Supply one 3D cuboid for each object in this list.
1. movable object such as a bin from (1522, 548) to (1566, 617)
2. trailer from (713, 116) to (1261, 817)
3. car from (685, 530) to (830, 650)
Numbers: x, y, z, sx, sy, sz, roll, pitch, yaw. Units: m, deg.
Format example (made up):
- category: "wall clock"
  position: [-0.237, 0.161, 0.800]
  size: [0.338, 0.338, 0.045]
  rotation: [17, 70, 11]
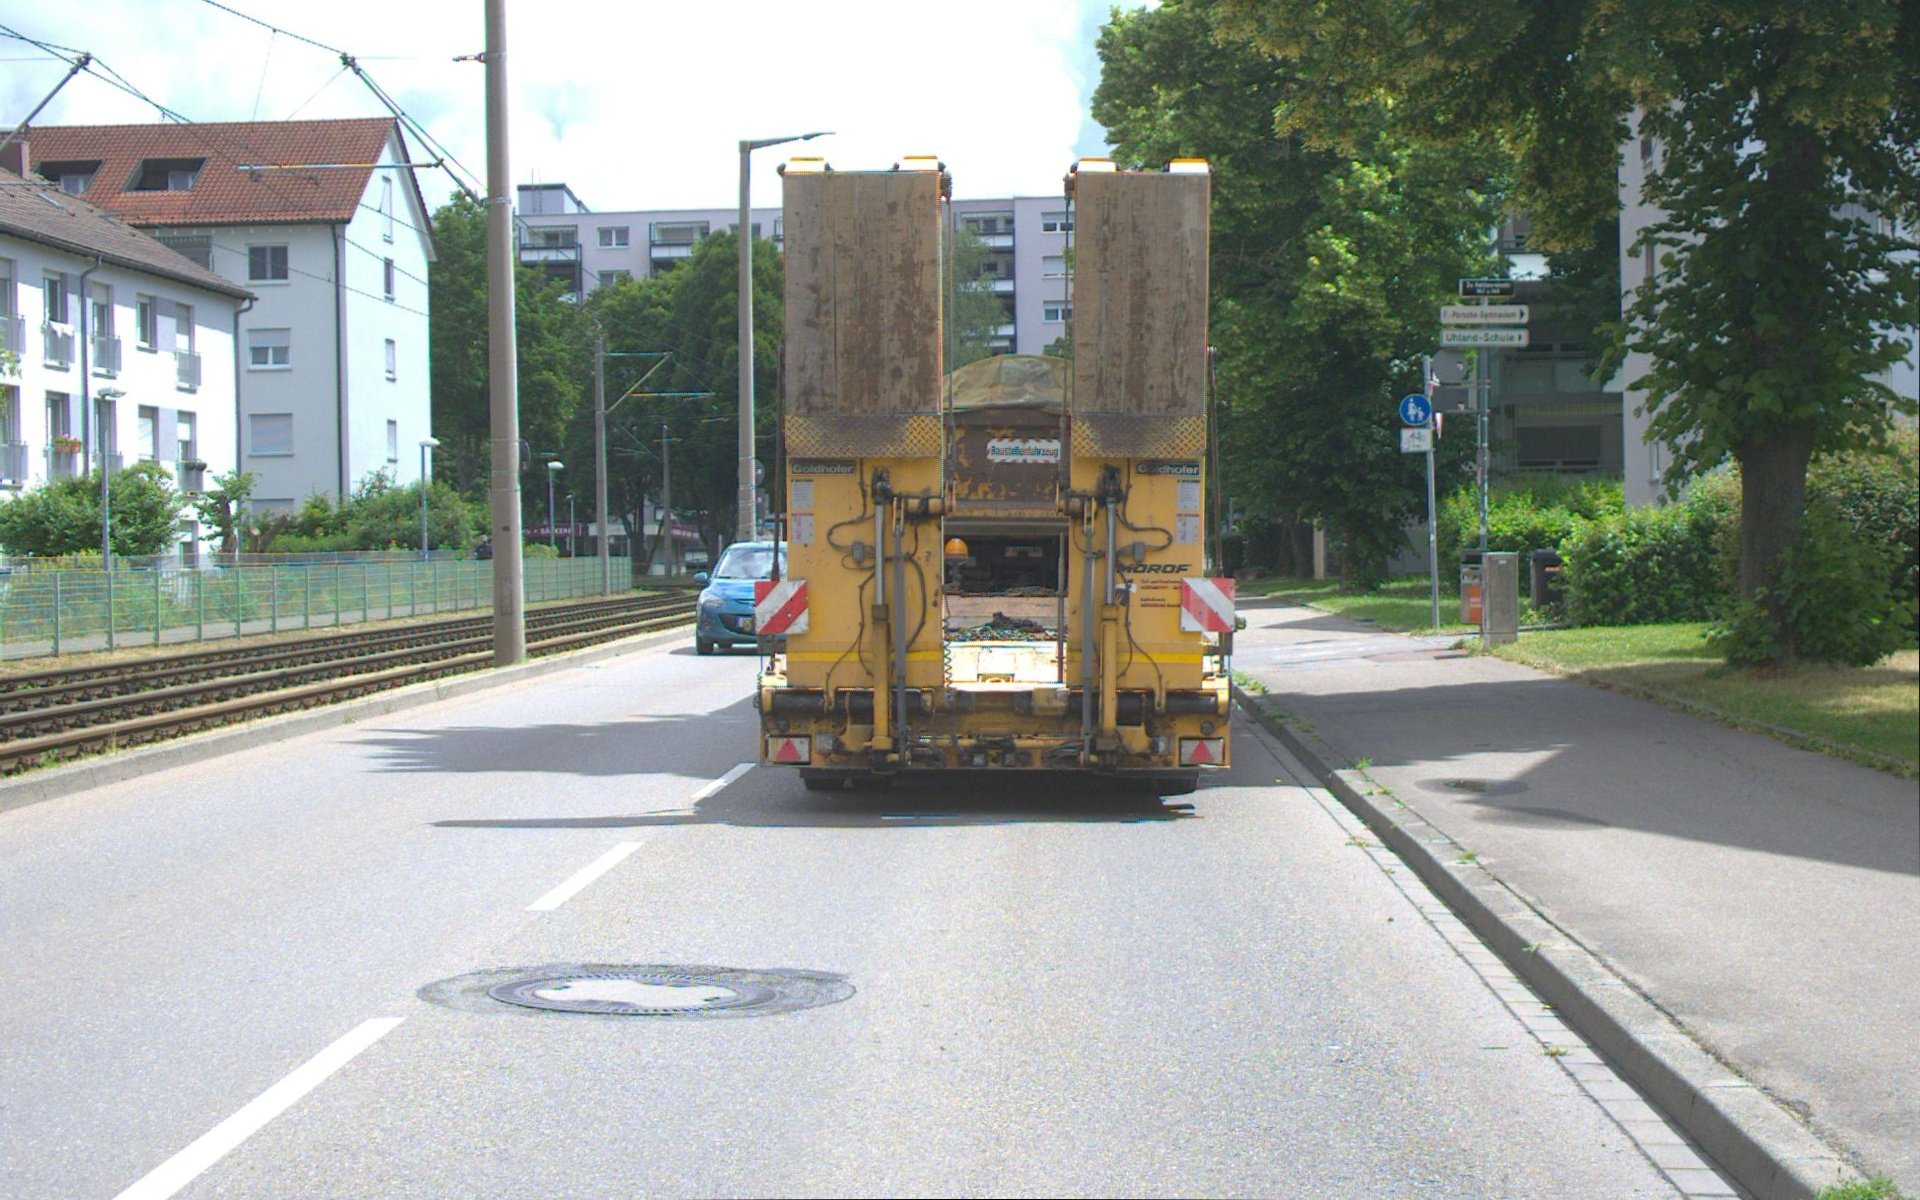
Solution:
- category: "movable object such as a bin"
  position: [8.155, -0.246, 48.013]
  size: [0.496, 0.951, 0.580]
  rotation: [-2, 0, 2]
- category: "trailer"
  position: [0.012, -0.779, 24.212]
  size: [2.827, 3.633, 12.355]
  rotation: [1, 1, -1]
- category: "car"
  position: [-2.636, -0.154, 45.446]
  size: [1.623, 1.520, 3.581]
  rotation: [0, 1, 1]
